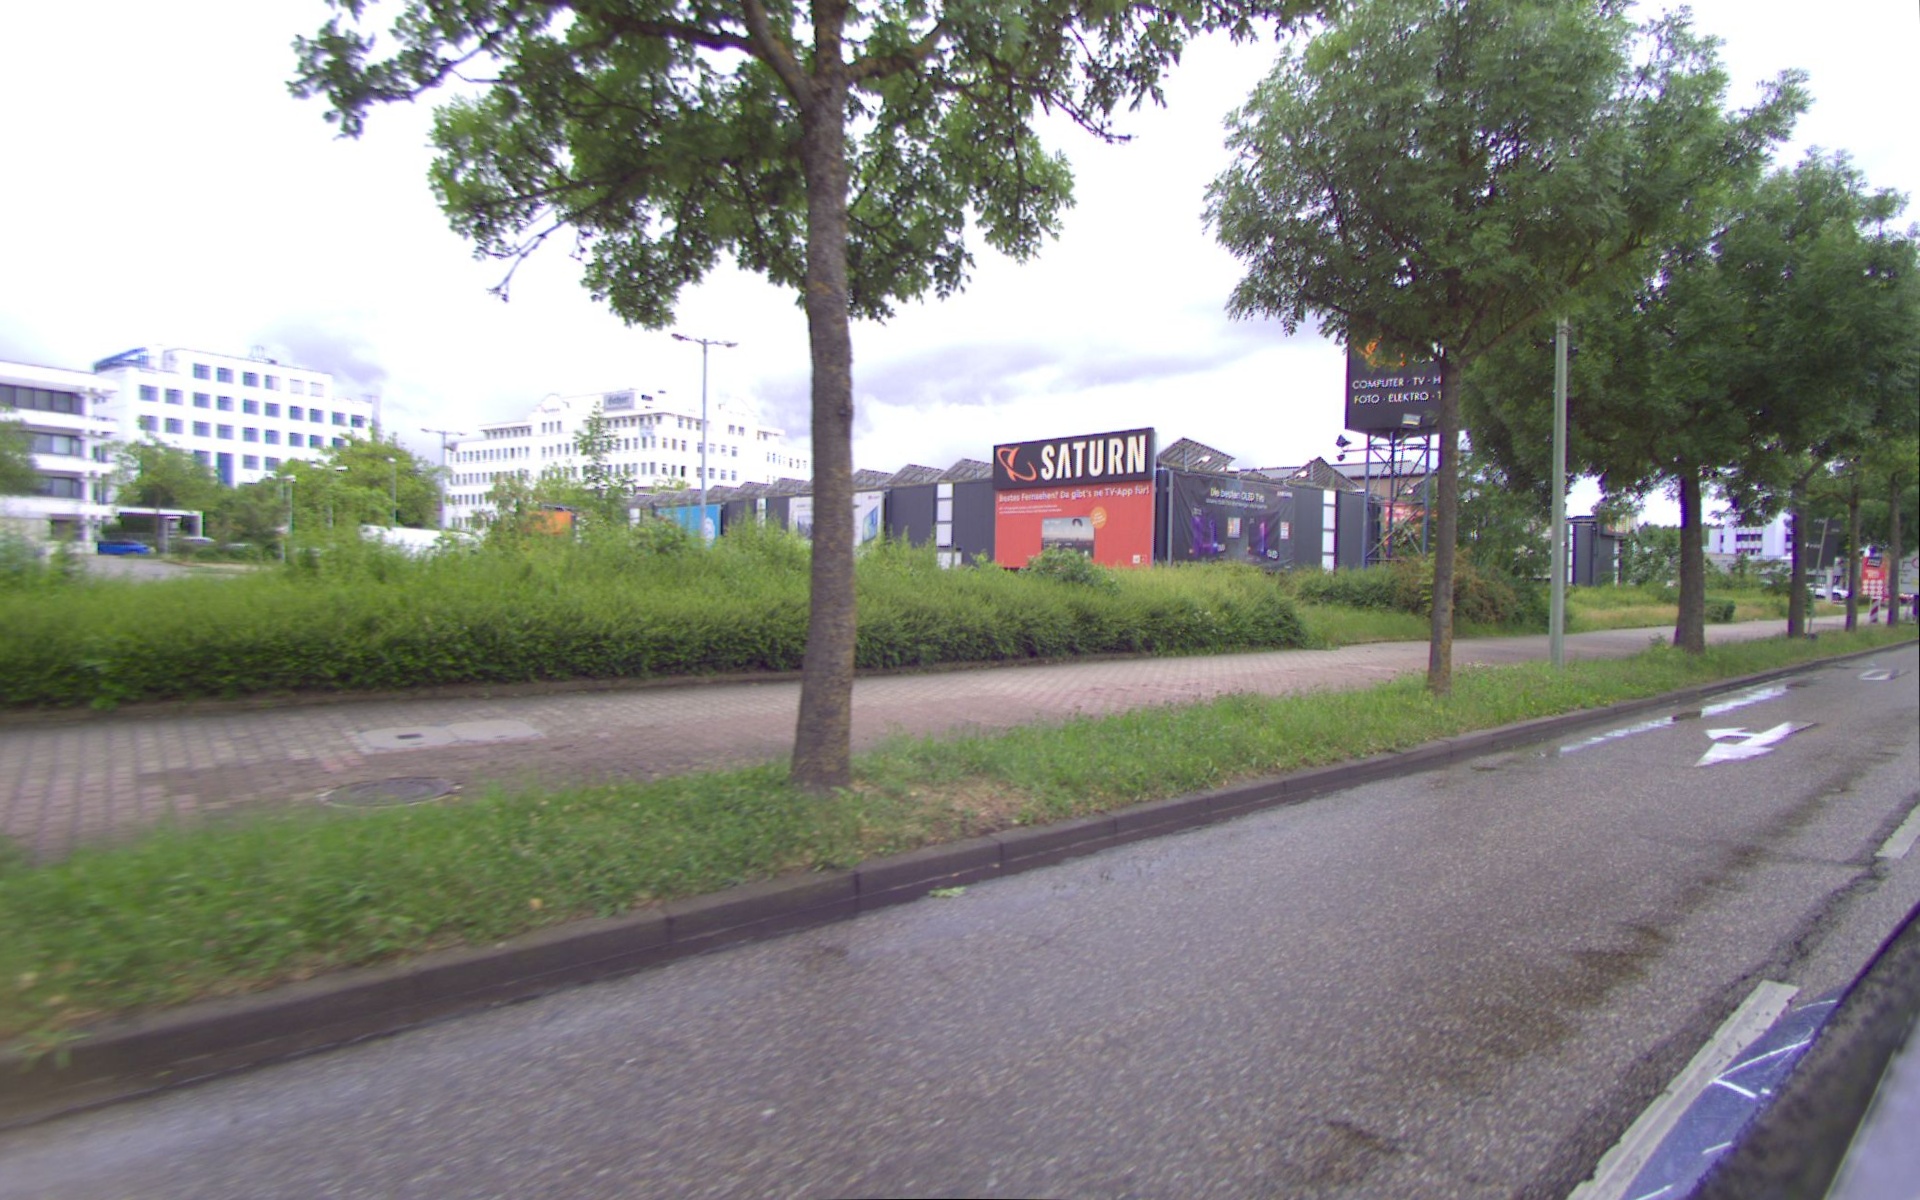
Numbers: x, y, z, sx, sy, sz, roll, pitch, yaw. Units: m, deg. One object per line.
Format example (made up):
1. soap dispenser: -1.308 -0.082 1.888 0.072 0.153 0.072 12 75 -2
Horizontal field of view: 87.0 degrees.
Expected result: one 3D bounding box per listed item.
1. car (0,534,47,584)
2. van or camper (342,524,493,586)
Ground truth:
1. car: -29.475 -1.247 31.156 1.877 1.460 3.995 0 2 -40
2. van or camper: -21.439 -1.732 40.122 4.936 2.282 2.153 -1 2 -41
